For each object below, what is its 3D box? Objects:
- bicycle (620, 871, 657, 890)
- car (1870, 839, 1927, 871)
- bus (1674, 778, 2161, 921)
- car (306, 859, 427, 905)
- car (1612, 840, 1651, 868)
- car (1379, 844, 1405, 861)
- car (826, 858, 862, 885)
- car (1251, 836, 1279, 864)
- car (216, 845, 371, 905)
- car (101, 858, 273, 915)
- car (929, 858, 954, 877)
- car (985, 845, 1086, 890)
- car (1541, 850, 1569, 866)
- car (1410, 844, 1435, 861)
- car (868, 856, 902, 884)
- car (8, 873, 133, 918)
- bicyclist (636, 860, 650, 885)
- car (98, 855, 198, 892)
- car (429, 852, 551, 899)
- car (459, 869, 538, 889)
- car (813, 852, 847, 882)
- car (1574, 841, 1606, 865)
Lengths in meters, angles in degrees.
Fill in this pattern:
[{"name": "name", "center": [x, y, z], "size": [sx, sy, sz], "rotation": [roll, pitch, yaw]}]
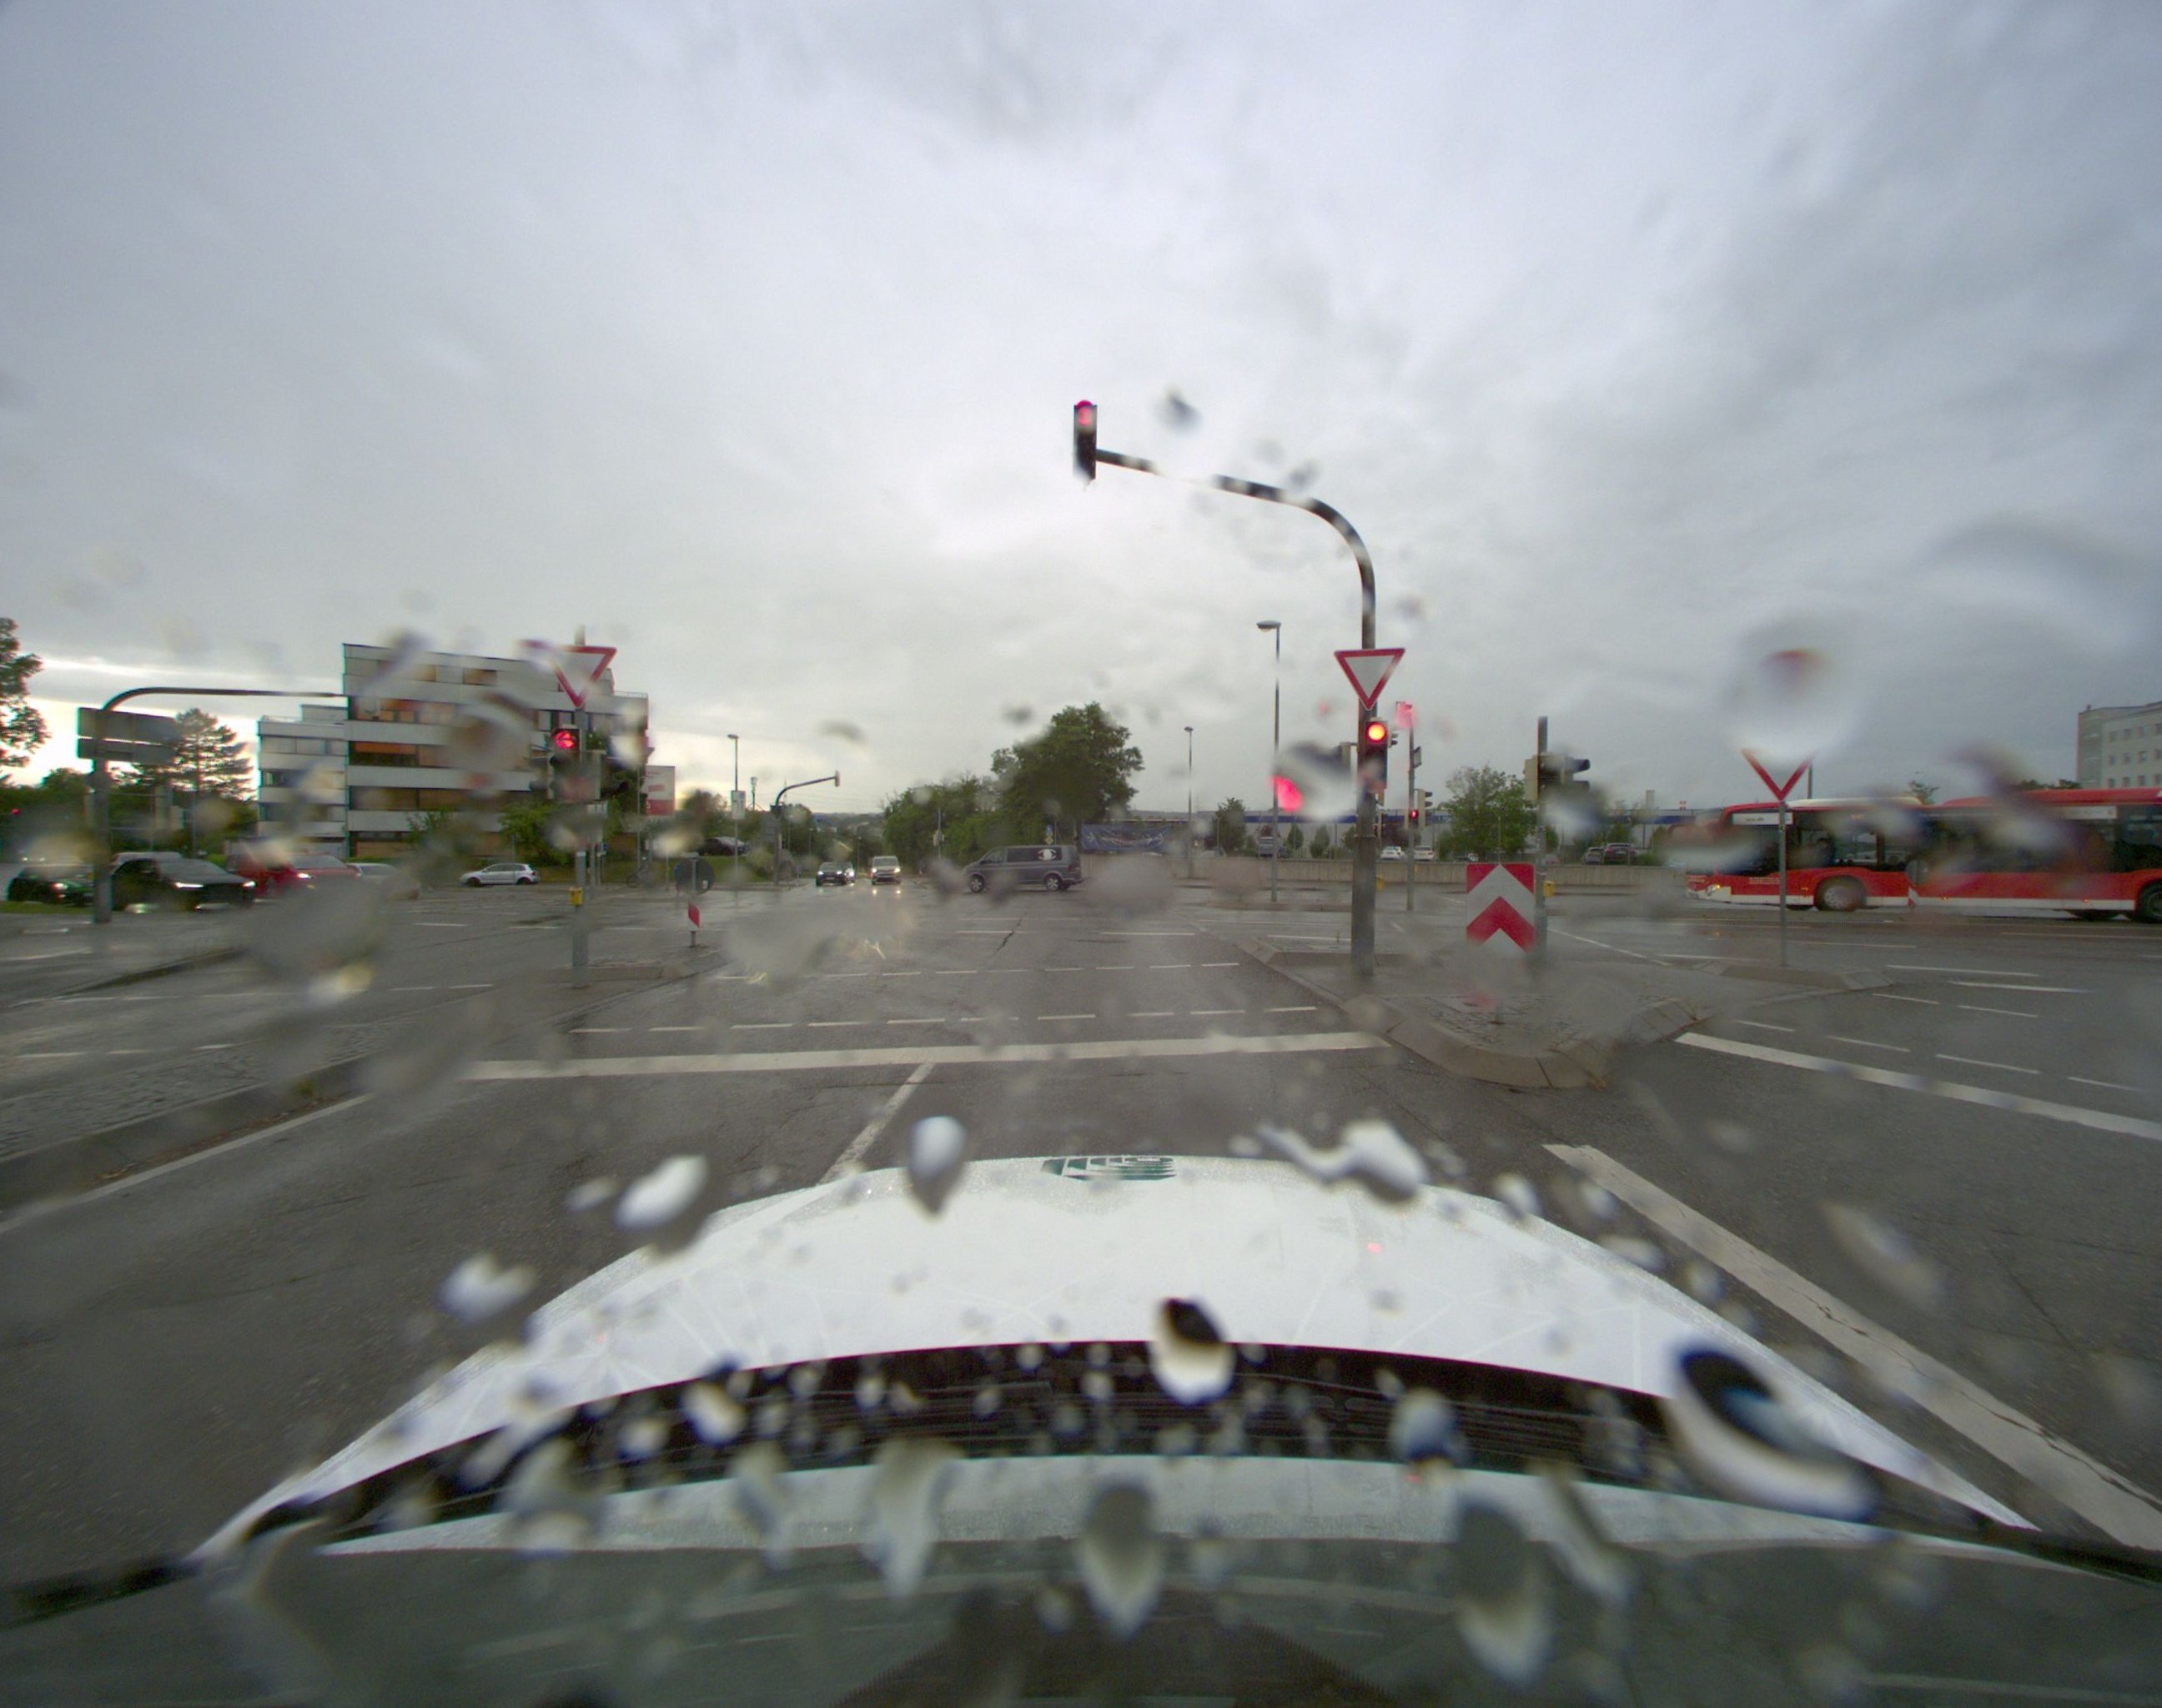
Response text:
[{"name": "bicycle", "center": [-25.727, 1.528, 47.383], "size": [1.771, 1.052, 0.609], "rotation": [0, 0, -4]}, {"name": "car", "center": [45.510, 0.044, 45.398], "size": [1.749, 1.715, 3.671], "rotation": [0, 0, 37]}, {"name": "bus", "center": [23.263, -0.174, 21.273], "size": [12.172, 3.321, 3.091], "rotation": [1, 1, 21]}, {"name": "car", "center": [-28.280, 1.050, 32.251], "size": [3.953, 1.684, 2.011], "rotation": [0, 0, 21]}, {"name": "car", "center": [34.134, -0.018, 50.488], "size": [1.749, 1.715, 3.671], "rotation": [0, 0, 38]}, {"name": "car", "center": [27.242, -0.153, 71.229], "size": [1.976, 1.478, 4.022], "rotation": [0, 0, 22]}, {"name": "car", "center": [-17.423, 1.239, 59.943], "size": [1.992, 1.895, 3.989], "rotation": [0, 0, -8]}, {"name": "car", "center": [13.849, -0.284, 61.069], "size": [1.979, 2.013, 4.015], "rotation": [0, 0, 14]}, {"name": "car", "center": [-28.173, 0.713, 29.169], "size": [4.733, 2.013, 2.010], "rotation": [0, 0, 19]}, {"name": "car", "center": [-28.512, 1.024, 25.998], "size": [4.579, 1.679, 2.044], "rotation": [-1, 0, 19]}, {"name": "car", "center": [-11.694, 1.132, 68.281], "size": [1.619, 1.448, 3.786], "rotation": [1, 1, -17]}, {"name": "car", "center": [-1.931, 0.559, 35.134], "size": [3.961, 1.848, 2.006], "rotation": [0, 0, 11]}, {"name": "car", "center": [43.823, 0.347, 75.243], "size": [1.749, 1.479, 3.671], "rotation": [0, 0, 37]}, {"name": "car", "center": [29.540, -0.144, 70.524], "size": [1.976, 1.478, 4.022], "rotation": [0, 0, 22]}, {"name": "car", "center": [-12.430, 0.978, 51.835], "size": [1.995, 1.618, 3.984], "rotation": [0, 0, -12]}, {"name": "car", "center": [-34.525, 1.379, 27.842], "size": [3.420, 1.387, 1.690], "rotation": [0, 0, 21]}, {"name": "bicyclist", "center": [-25.487, 1.060, 47.399], "size": [0.542, 1.446, 0.602], "rotation": [0, 0, -4]}, {"name": "car", "center": [-54.363, 1.112, 47.447], "size": [4.956, 2.013, 2.009], "rotation": [0, 0, 17]}, {"name": "car", "center": [-24.420, 0.845, 33.680], "size": [4.108, 1.840, 2.009], "rotation": [0, 0, 18]}, {"name": "car", "center": [-34.343, 1.462, 48.108], "size": [3.522, 1.105, 1.806], "rotation": [0, 0, -25]}, {"name": "car", "center": [-16.159, 0.829, 52.606], "size": [1.997, 1.895, 3.979], "rotation": [0, -1, -16]}, {"name": "car", "center": [38.087, -0.104, 60.893], "size": [1.699, 1.715, 3.671], "rotation": [0, 0, 37]}]
